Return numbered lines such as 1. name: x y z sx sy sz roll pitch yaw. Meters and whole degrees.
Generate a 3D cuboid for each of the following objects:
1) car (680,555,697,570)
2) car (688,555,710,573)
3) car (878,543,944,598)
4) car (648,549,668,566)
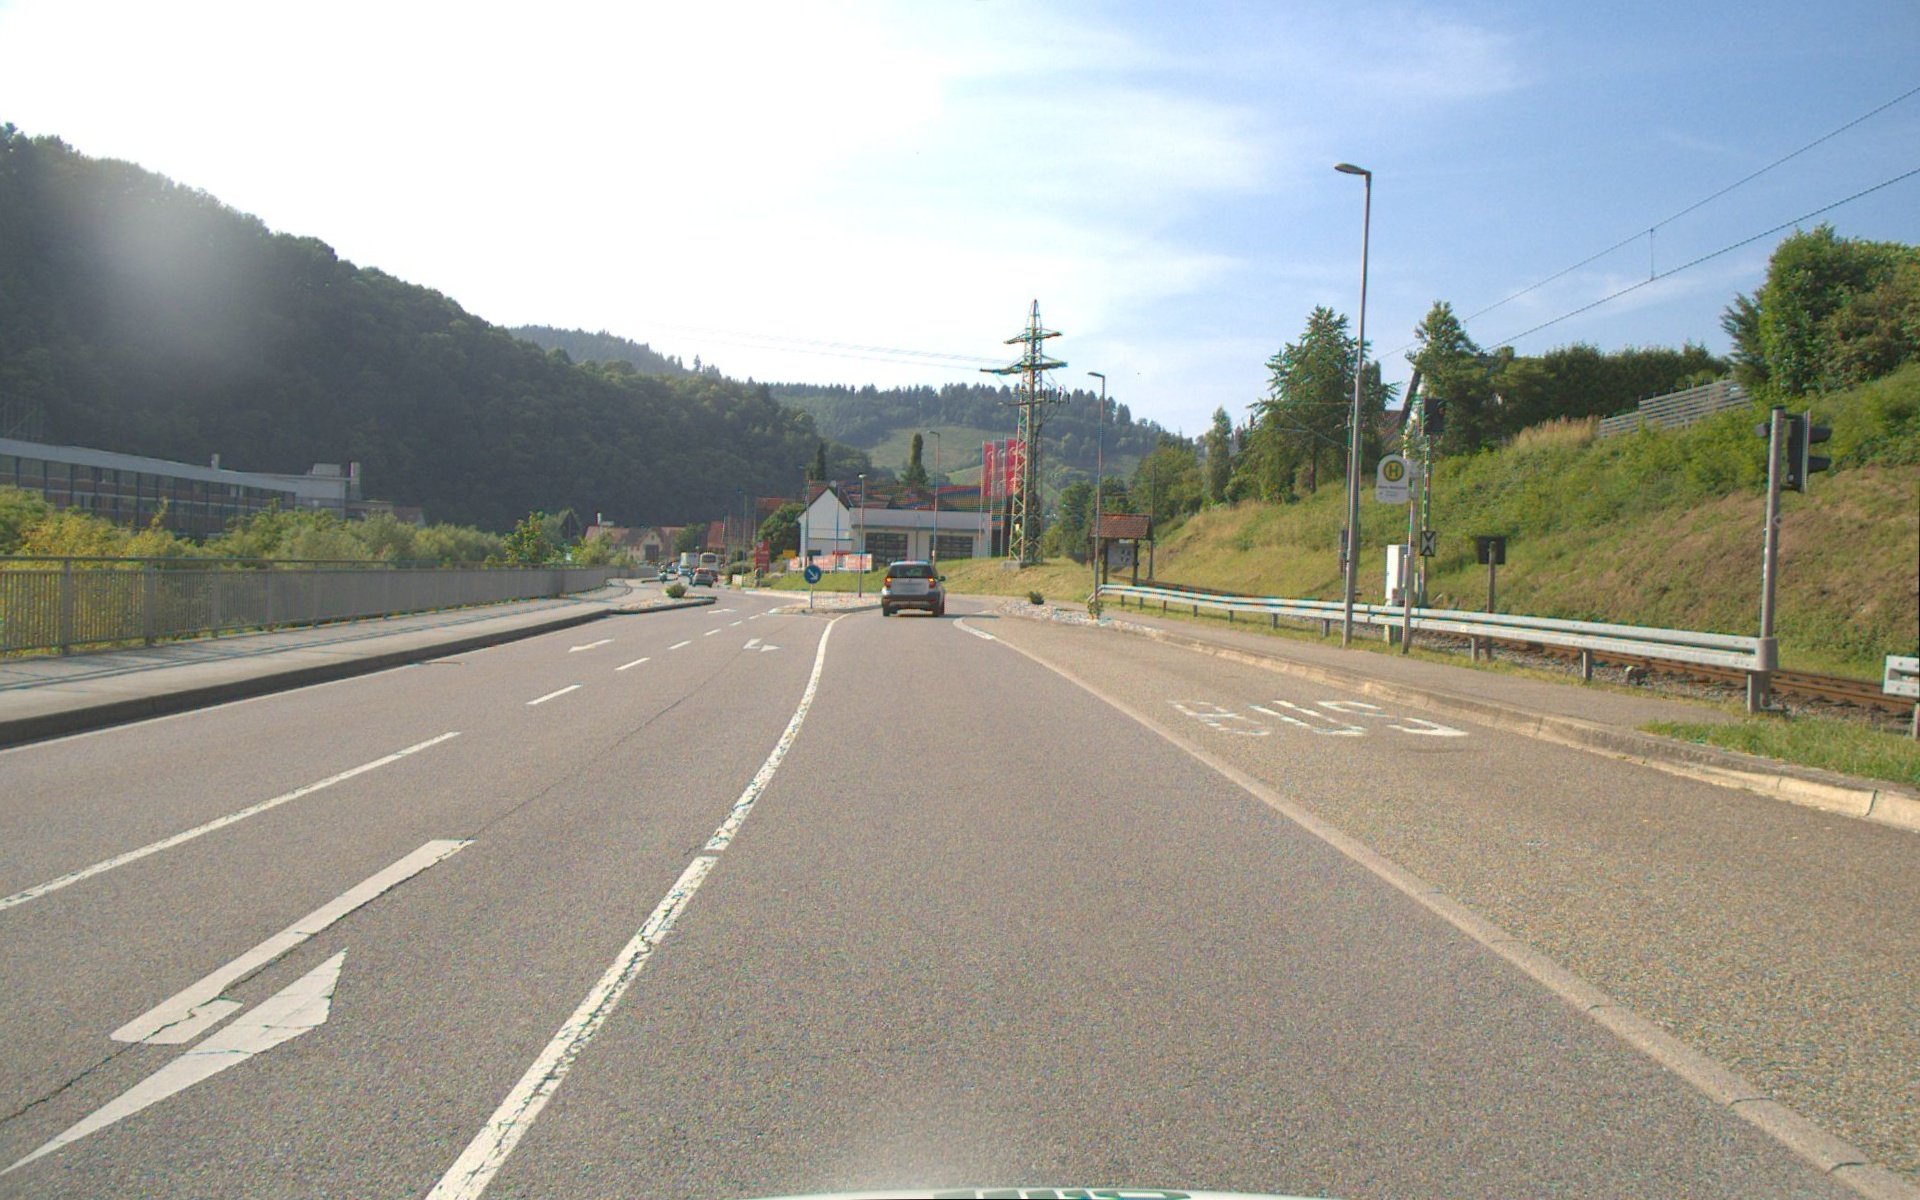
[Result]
1. car: -27.916 -3.821 169.993 1.215 1.460 2.625 -1 3 -20
2. car: -22.801 -3.160 144.406 1.430 1.460 2.923 2 2 -17
3. car: -1.561 -0.914 51.326 1.824 1.571 4.370 2 1 -4
4. car: -29.432 -4.135 161.150 1.636 1.576 3.699 2 2 -7
